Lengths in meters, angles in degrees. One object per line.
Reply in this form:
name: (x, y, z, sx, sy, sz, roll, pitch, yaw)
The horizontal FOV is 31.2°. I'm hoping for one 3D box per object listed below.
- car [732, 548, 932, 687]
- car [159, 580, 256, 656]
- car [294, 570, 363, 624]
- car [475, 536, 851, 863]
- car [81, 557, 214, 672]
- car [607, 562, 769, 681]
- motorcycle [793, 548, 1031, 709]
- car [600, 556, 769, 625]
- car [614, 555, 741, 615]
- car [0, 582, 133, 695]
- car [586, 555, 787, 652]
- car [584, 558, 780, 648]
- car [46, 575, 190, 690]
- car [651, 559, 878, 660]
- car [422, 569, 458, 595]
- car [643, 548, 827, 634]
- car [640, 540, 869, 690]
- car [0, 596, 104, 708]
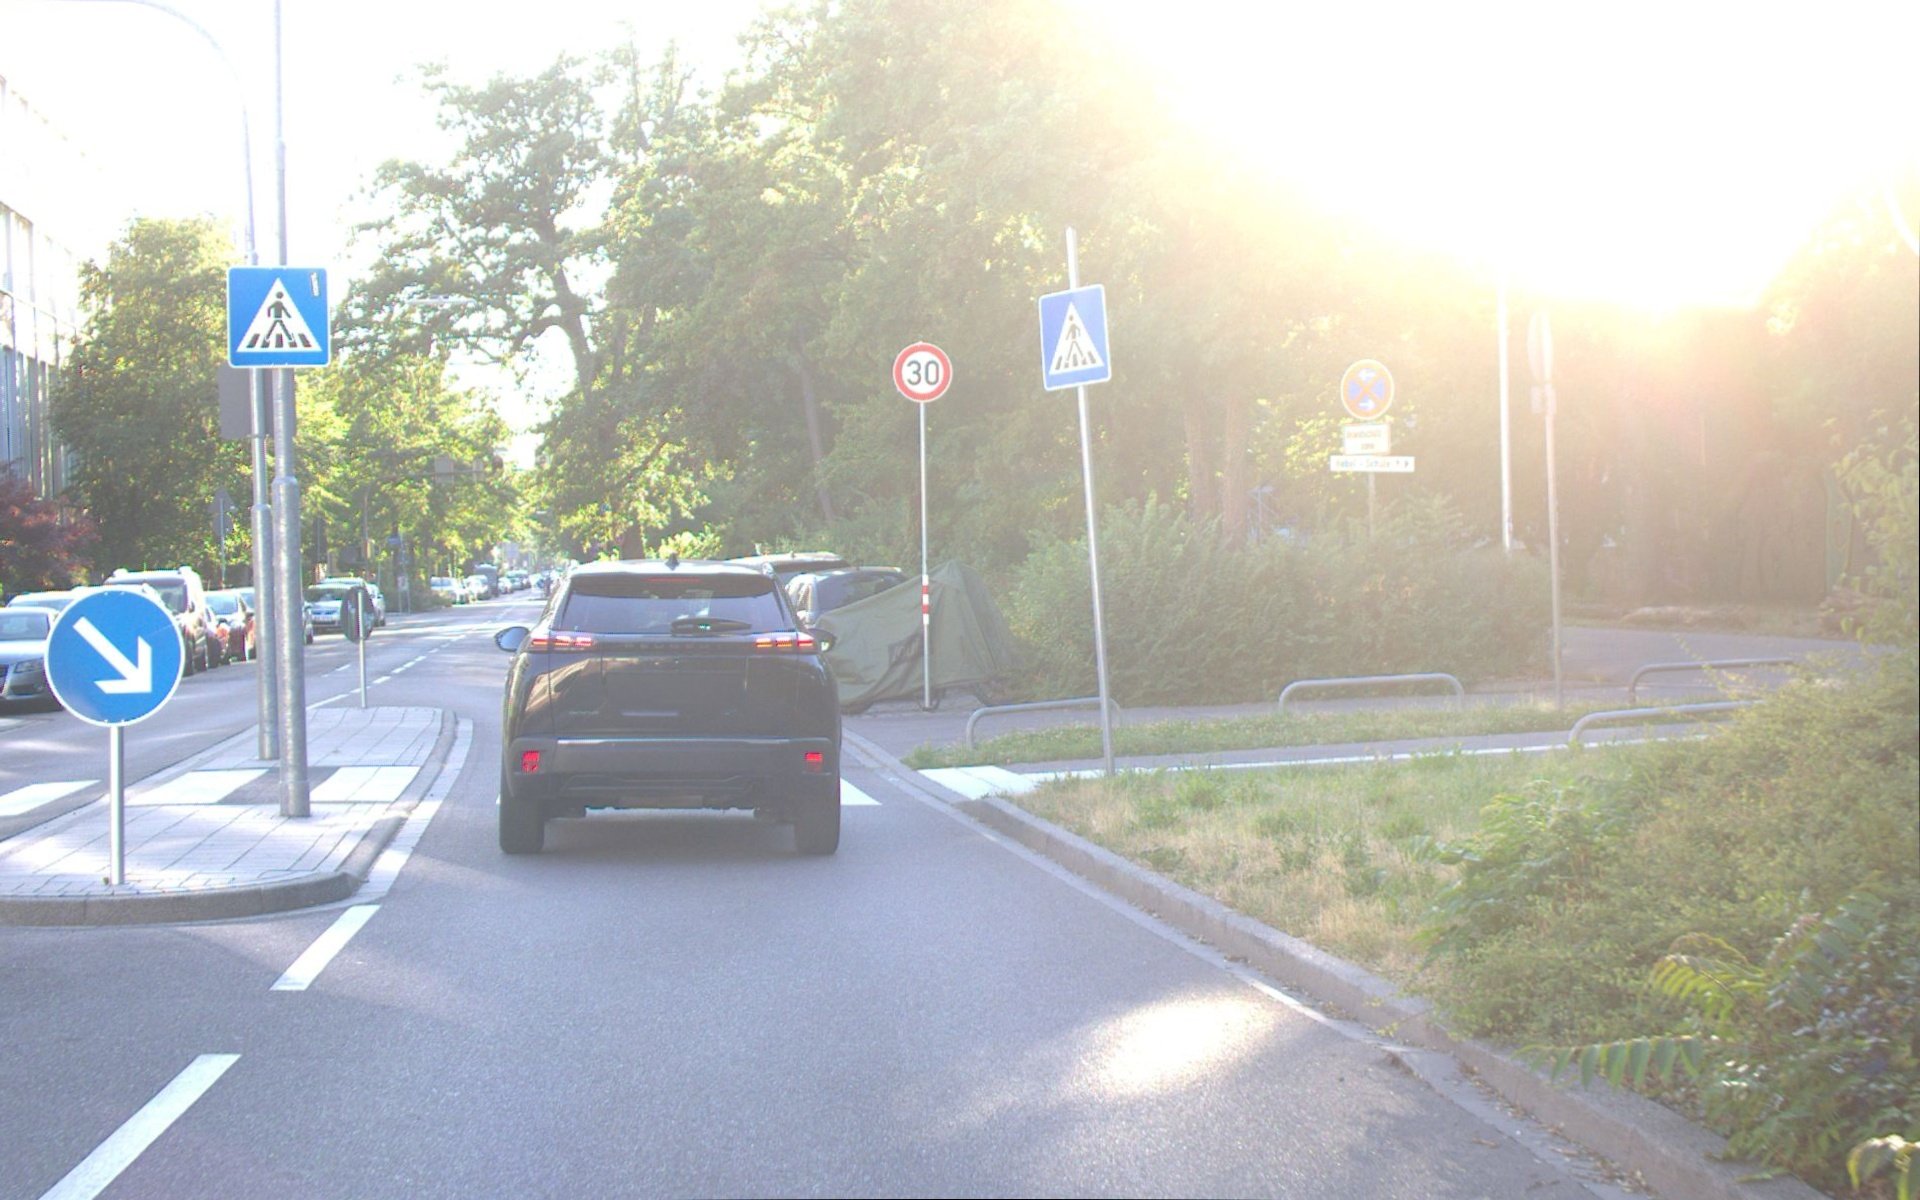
car: (-1.523, 0.181, 39.740, 1.619, 1.481, 3.420, -2, 1, -13)
car: (-15.587, 0.351, 71.342, 1.598, 1.450, 3.862, -2, 1, -8)
car: (-19.143, -0.102, 104.293, 1.670, 1.488, 4.062, -3, 1, -6)
car: (-1.701, 0.469, 18.726, 1.768, 1.563, 3.381, -2, 1, -9)
car: (-14.529, 0.228, 61.678, 1.807, 1.883, 4.239, -3, 1, -7)
car: (-3.940, 0.276, 49.210, 1.650, 1.562, 4.302, -2, 1, -13)
motorcycle: (-0.472, 0.280, 35.139, 2.292, 1.539, 1.039, -2, 1, 5)
car: (-7.336, -0.264, 91.286, 4.337, 1.470, 1.742, -4, 2, -5)
car: (-8.393, -0.440, 102.065, 3.588, 1.561, 1.819, -4, 0, -7)
car: (-13.322, 0.538, 50.754, 1.741, 1.528, 4.117, -2, 1, -8)
car: (-5.222, 0.047, 65.460, 3.609, 1.520, 1.672, -5, 1, -8)
car: (-5.500, 0.041, 67.824, 3.665, 1.440, 1.735, -5, 1, -8)
car: (-13.796, 0.495, 56.513, 1.741, 1.670, 4.418, -3, 1, -7)
car: (-3.239, 0.145, 56.693, 3.626, 1.535, 1.672, -2, 1, -6)
car: (-29.153, -1.014, 192.689, 1.810, 1.349, 4.001, -2, 1, -11)
car: (-4.812, -0.196, 73.269, 3.724, 1.493, 1.820, -5, 0, -6)
car: (-2.687, 0.164, 43.839, 1.921, 1.742, 4.667, -2, 1, -15)
car: (-12.555, 0.675, 45.557, 1.742, 1.352, 4.397, -2, 1, -6)
